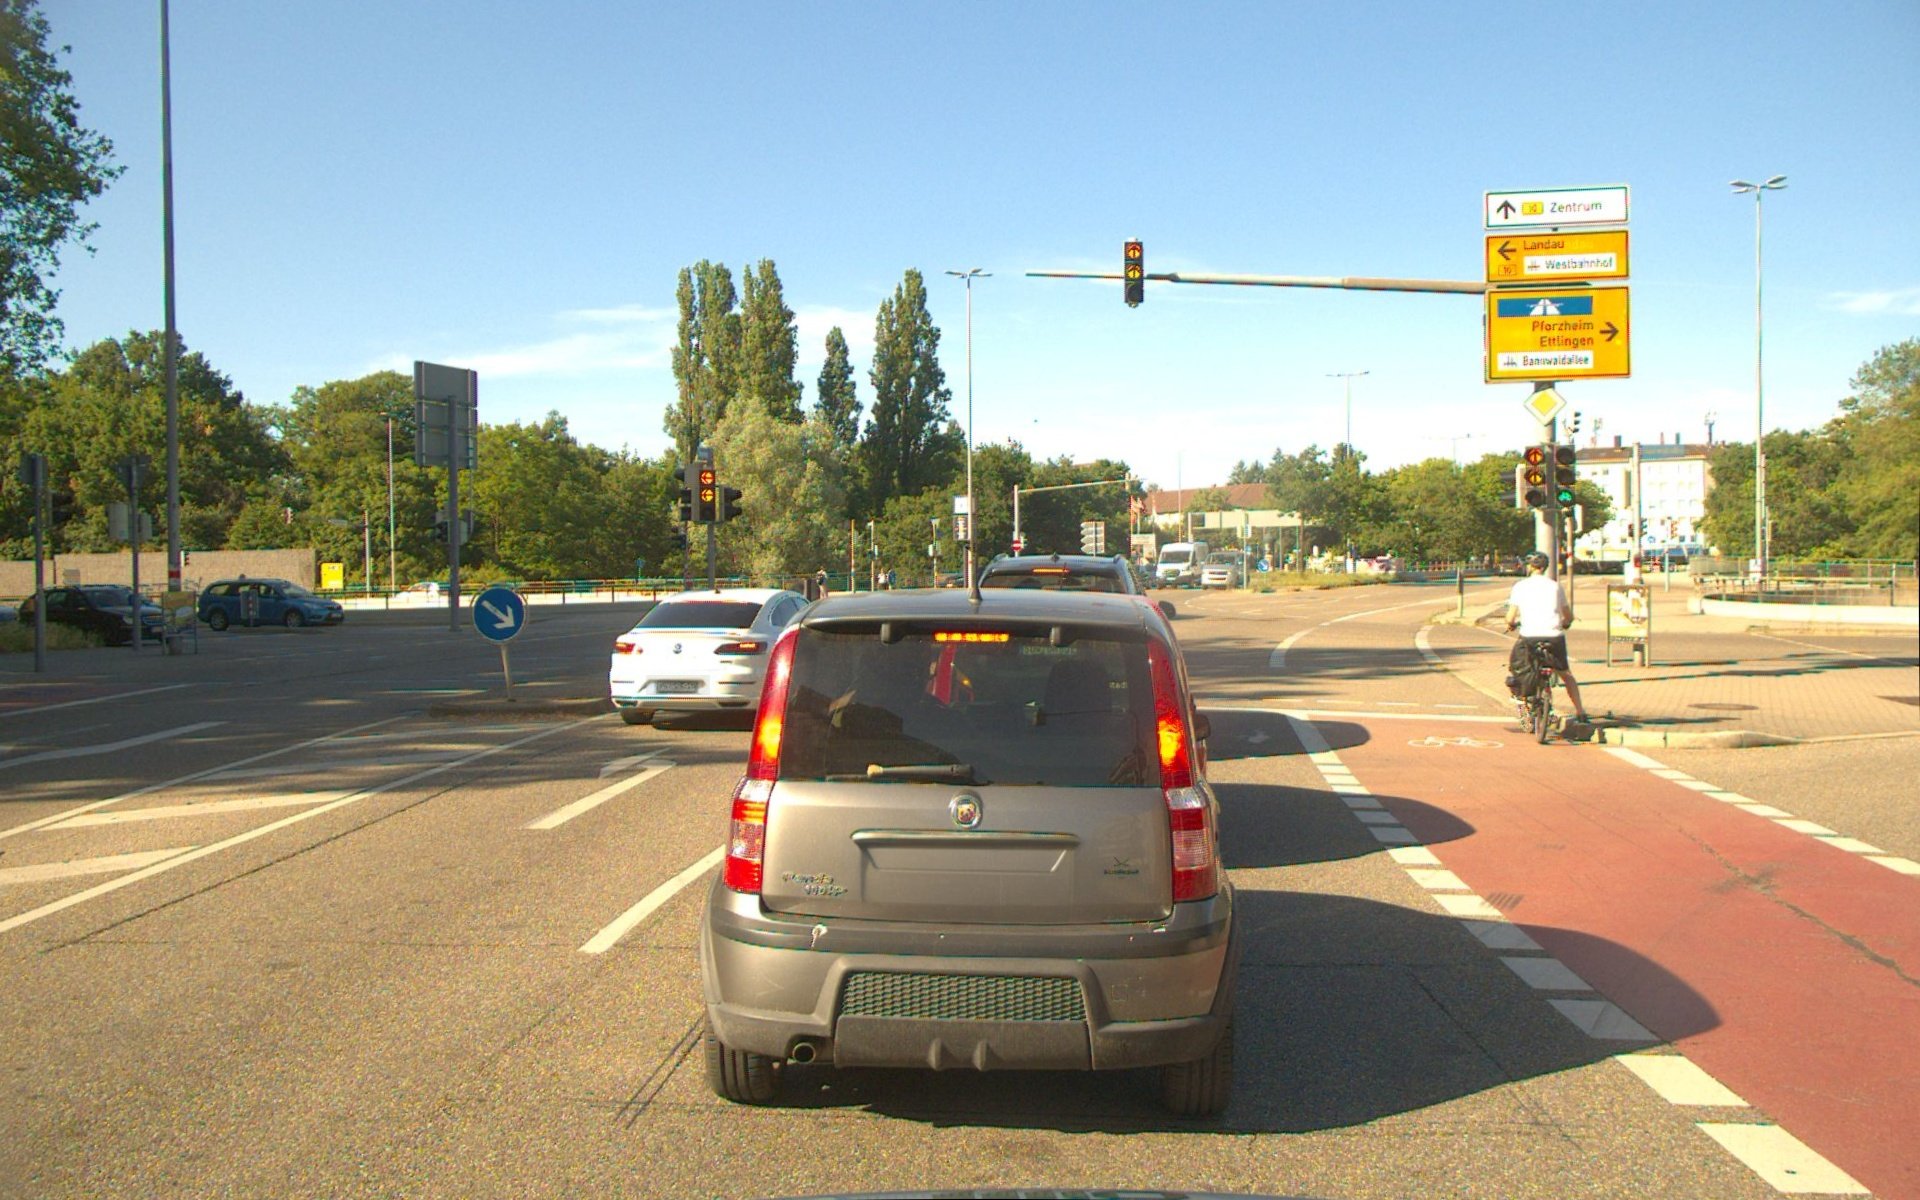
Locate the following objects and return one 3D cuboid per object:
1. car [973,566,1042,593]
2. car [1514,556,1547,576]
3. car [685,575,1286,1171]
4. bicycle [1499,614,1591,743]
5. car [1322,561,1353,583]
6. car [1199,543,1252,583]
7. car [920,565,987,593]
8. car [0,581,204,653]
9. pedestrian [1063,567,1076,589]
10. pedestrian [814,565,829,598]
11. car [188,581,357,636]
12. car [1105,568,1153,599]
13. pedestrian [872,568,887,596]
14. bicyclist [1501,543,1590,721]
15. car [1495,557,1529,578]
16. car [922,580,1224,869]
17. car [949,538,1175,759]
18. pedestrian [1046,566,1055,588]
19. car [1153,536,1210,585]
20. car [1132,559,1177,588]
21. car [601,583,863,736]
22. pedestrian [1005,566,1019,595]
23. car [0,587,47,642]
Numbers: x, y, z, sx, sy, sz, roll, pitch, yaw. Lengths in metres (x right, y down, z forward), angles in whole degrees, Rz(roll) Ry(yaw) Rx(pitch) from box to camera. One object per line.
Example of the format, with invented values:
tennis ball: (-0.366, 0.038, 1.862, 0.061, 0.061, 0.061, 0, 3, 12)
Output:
car: (2.939, -1.293, 102.066, 4.292, 1.562, 1.758, -2, 3, -42)
car: (45.906, -2.730, 133.050, 1.908, 1.555, 4.093, 0, 1, 27)
car: (0.209, 0.700, 6.309, 1.583, 1.542, 3.822, -1, 1, 4)
bicycle: (5.727, 0.733, 16.270, 0.676, 1.121, 1.828, 1, 1, 14)
car: (29.815, -2.236, 130.598, 1.896, 1.650, 4.508, 0, 1, 19)
car: (13.978, -1.969, 86.985, 1.896, 2.043, 4.933, 0, 1, 19)
car: (-0.405, -1.309, 104.155, 3.961, 1.653, 1.874, 1, 0, -39)
car: (-21.045, 0.398, 40.220, 4.668, 1.649, 1.953, 0, 1, 15)
pedestrian: (8.355, -1.674, 126.477, 0.777, 1.693, 0.626, 0, -1, 40)
pedestrian: (-6.262, -0.838, 74.800, 0.666, 1.488, 0.702, -1, 1, -7)
car: (-20.749, 0.244, 49.988, 4.348, 1.567, 1.953, -1, 1, 13)
car: (9.437, -0.928, 91.893, 1.896, 1.534, 4.003, -2, 1, 17)
pedestrian: (-4.745, -1.054, 97.766, 0.698, 1.574, 0.725, -2, -1, -16)
bicyclist: (5.738, 0.286, 16.261, 0.708, 1.688, 1.114, 1, 1, 14)
car: (42.423, -2.508, 127.034, 1.907, 1.555, 4.093, 0, 1, 27)
car: (0.743, 0.647, 10.663, 1.583, 1.488, 3.753, -1, 1, 4)
car: (1.120, 0.372, 16.168, 1.904, 1.872, 4.156, -1, 1, 7)
pedestrian: (6.964, -1.767, 127.008, 0.488, 1.731, 0.500, 1, -1, 24)
car: (12.205, -2.186, 90.947, 1.896, 2.621, 6.091, 0, 1, 19)
car: (11.607, -1.597, 98.527, 1.773, 1.568, 4.619, -2, 1, 18)
car: (-2.370, 0.555, 18.365, 1.742, 1.439, 4.323, 0, 1, 8)
pedestrian: (2.874, -1.092, 91.194, 0.547, 1.574, 0.573, -2, 0, -16)
car: (-26.381, 0.381, 43.522, 4.404, 1.381, 1.879, 0, 1, 24)
